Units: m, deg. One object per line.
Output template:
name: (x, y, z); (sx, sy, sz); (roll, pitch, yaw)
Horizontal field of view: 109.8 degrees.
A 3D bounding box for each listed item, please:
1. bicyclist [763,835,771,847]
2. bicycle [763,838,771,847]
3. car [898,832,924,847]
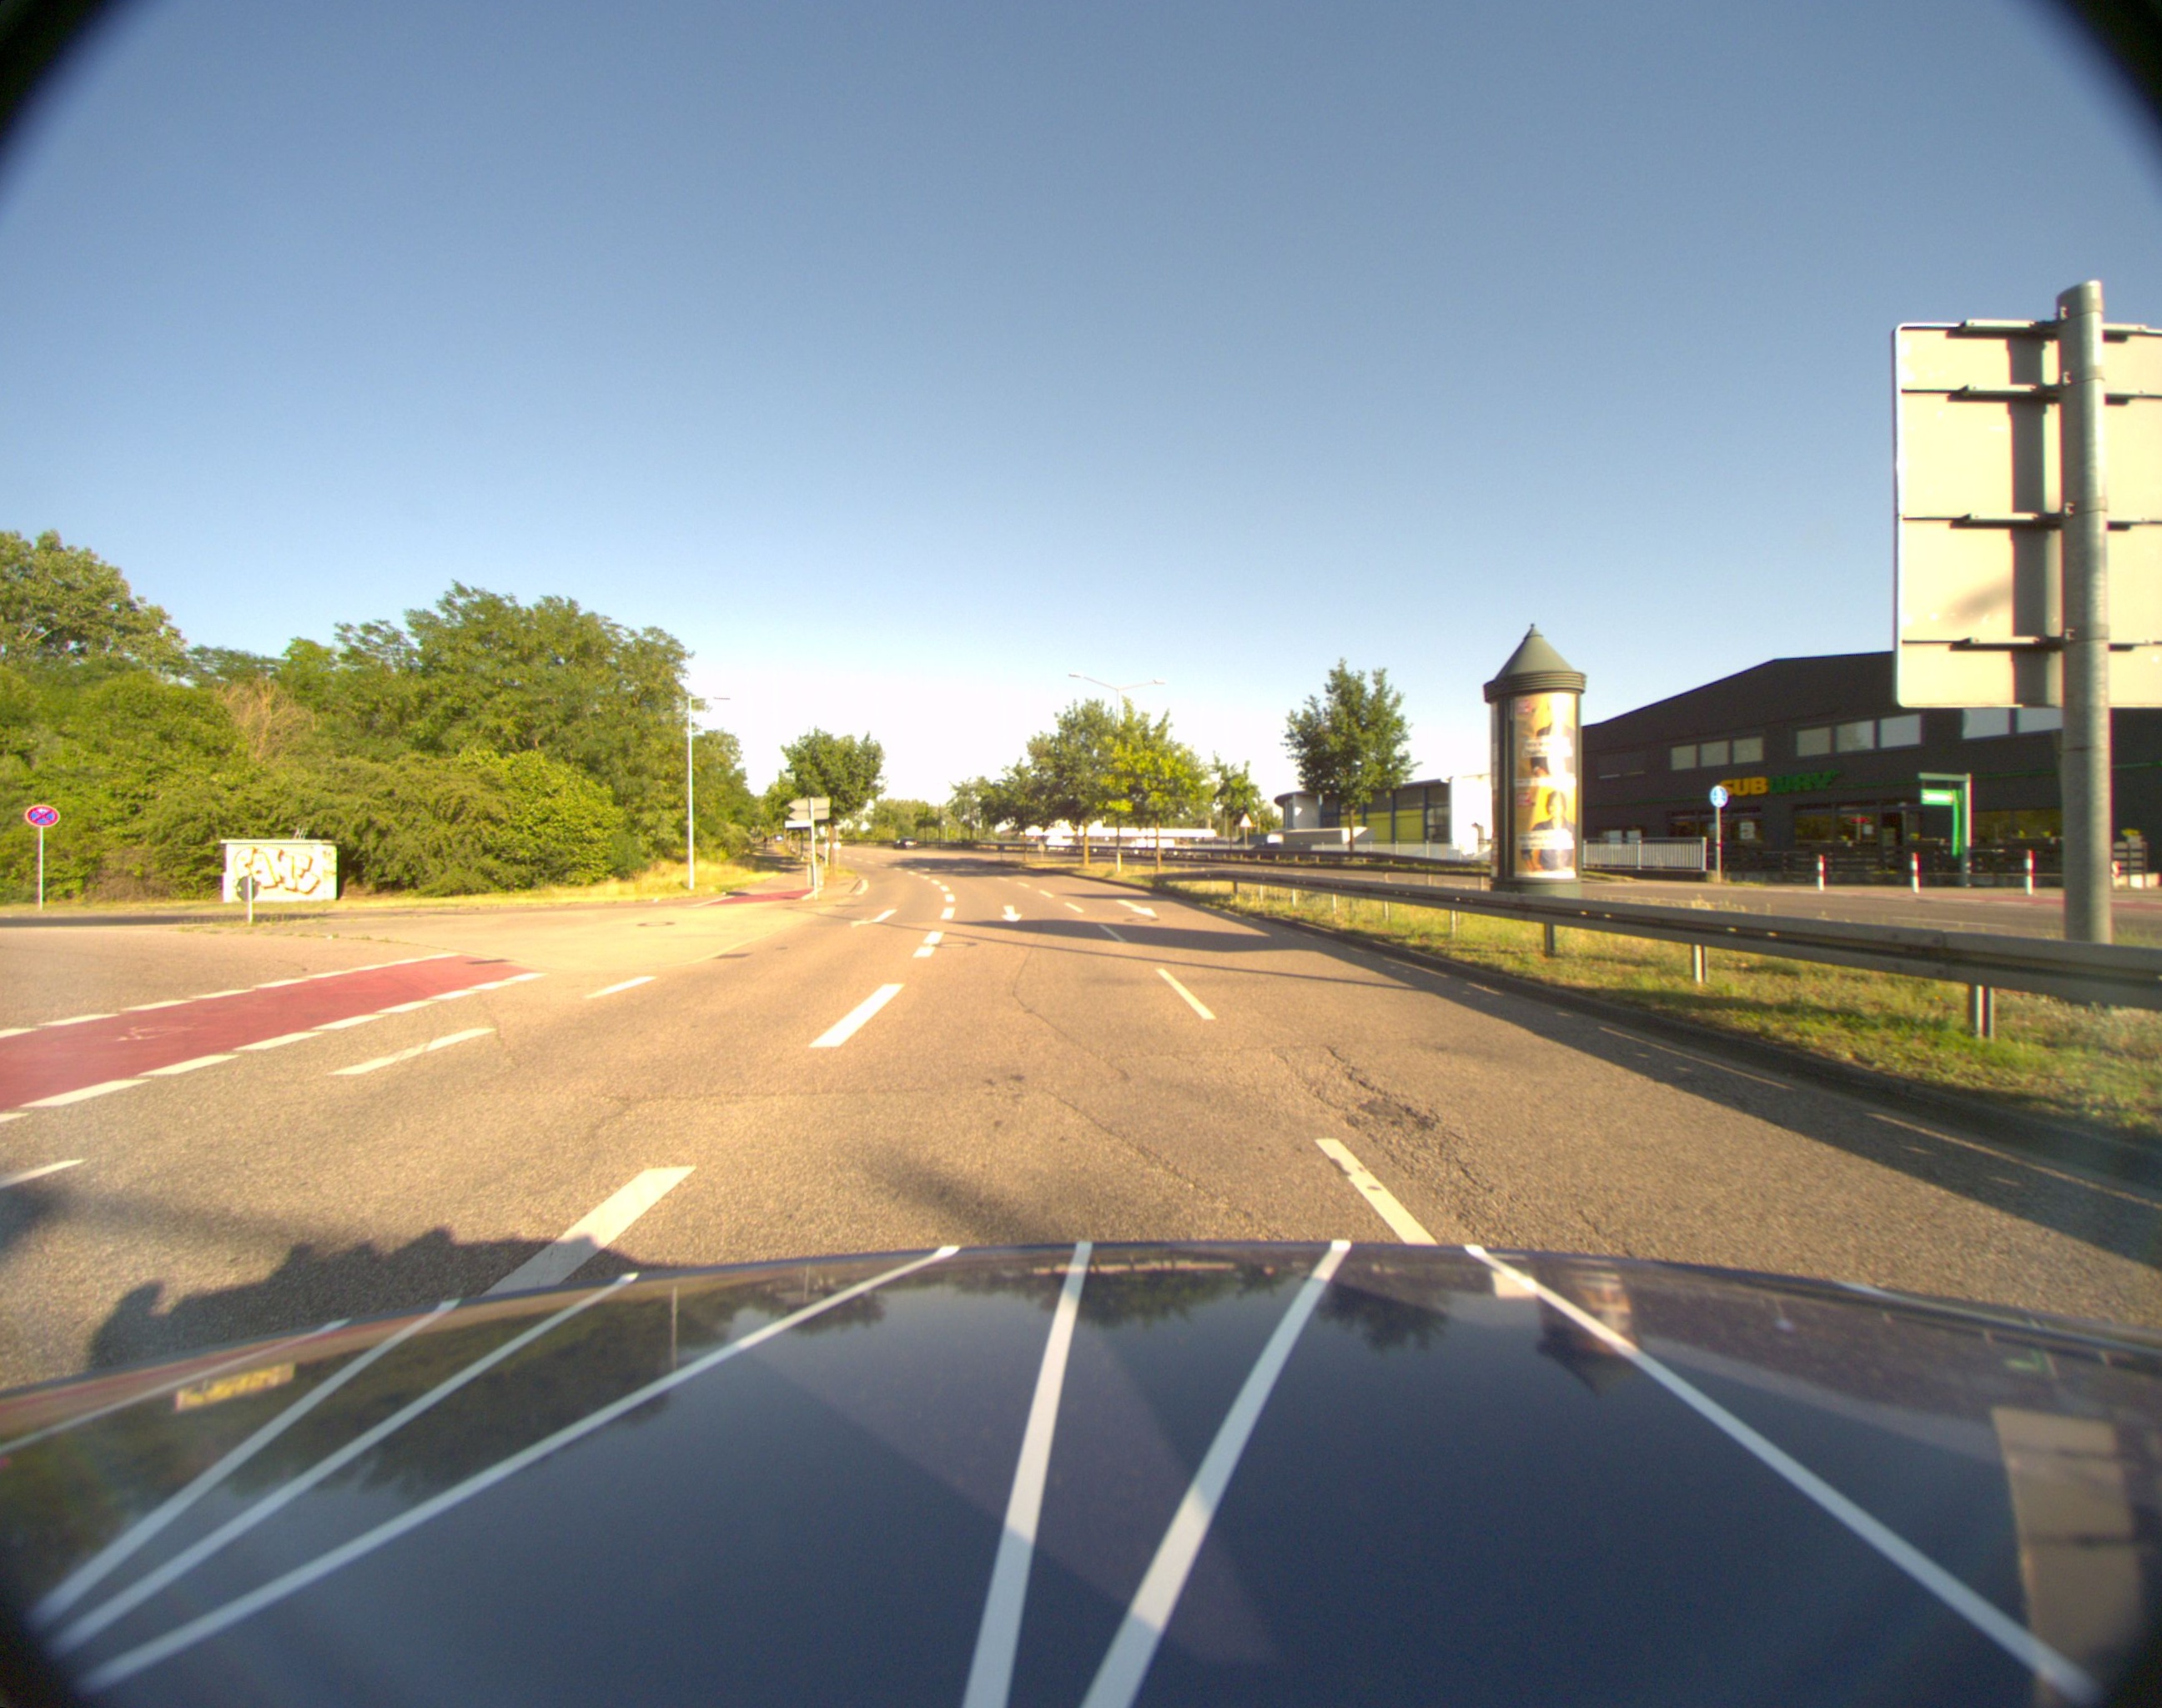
bicyclist: (-37.412, -1.505, 90.573); (0.844, 1.413, 1.112); (-3, 1, -20)
bicycle: (-37.408, -1.338, 90.569); (0.783, 1.051, 2.492); (-3, 1, -21)
car: (-21.377, -1.823, 95.322); (2.003, 1.761, 3.991); (-3, 1, -30)
